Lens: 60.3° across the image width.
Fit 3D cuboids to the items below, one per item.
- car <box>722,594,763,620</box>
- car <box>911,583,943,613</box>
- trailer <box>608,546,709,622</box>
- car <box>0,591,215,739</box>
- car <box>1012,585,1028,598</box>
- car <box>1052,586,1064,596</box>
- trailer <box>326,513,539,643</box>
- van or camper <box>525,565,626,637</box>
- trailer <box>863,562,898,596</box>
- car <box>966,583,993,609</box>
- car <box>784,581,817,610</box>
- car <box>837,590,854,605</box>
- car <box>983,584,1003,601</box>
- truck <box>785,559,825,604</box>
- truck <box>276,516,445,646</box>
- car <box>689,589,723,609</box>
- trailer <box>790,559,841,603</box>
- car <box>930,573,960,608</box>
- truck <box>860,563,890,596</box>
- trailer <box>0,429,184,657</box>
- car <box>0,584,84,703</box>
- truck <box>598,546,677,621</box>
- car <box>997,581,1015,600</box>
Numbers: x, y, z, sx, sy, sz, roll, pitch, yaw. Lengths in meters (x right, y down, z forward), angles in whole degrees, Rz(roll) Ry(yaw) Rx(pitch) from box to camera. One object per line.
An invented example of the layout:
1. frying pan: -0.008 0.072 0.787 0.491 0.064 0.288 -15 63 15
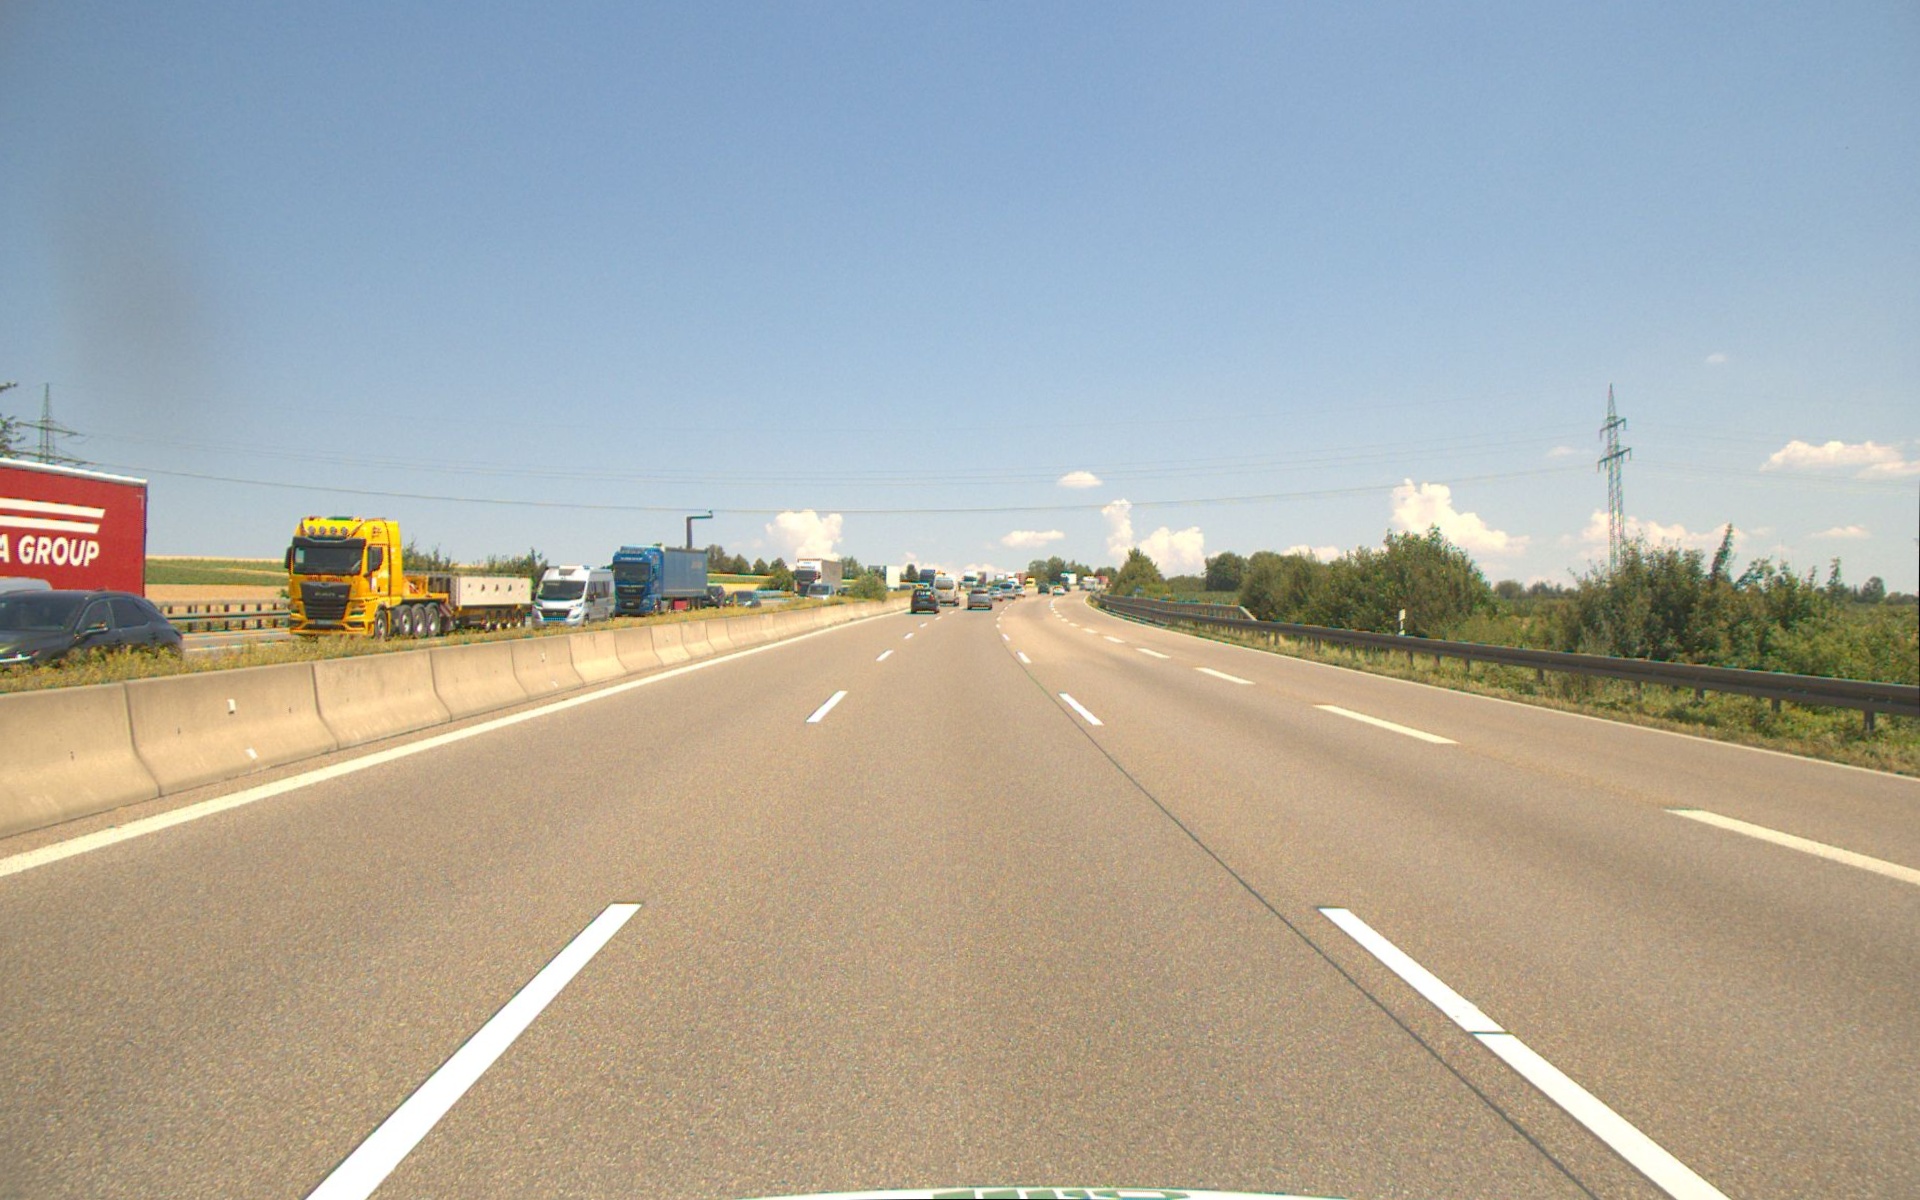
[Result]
1. car: -13.942 0.446 106.306 1.874 1.568 5.742 1 0 0
2. car: -2.134 -0.138 108.979 1.809 1.893 4.207 0 1 3
3. trailer: -18.430 -0.936 102.365 3.095 4.267 14.383 1 0 2
4. car: -12.047 0.755 21.998 2.007 1.725 5.253 1 0 -2
5. car: 7.953 -1.126 219.202 1.952 1.579 4.003 2 1 4
6. car: 14.940 -1.421 252.365 1.862 1.467 4.002 0 1 4
7. trailer: -18.978 -0.773 60.975 2.891 4.172 14.384 1 0 1
8. van or camper: -14.840 0.031 64.266 2.264 2.632 7.142 1 0 0
9. trailer: -10.905 -2.848 228.505 3.174 4.464 14.035 1 1 4
10. car: 1.482 -0.256 124.485 1.952 1.781 4.000 1 -2 1
11. car: -11.429 -0.354 118.787 1.874 2.004 5.447 1 0 0
12. car: -11.583 -0.272 167.544 1.591 1.428 3.730 1 1 -1
13. car: 3.353 -0.753 169.941 1.953 1.613 3.999 0 -1 0
14. truck: -15.677 -1.879 167.268 3.066 4.403 6.150 1 0 4
15. truck: -19.239 -0.599 53.535 2.694 3.904 7.099 1 0 1
16. car: -18.385 -0.107 119.911 1.623 1.409 4.351 1 1 1
17. trailer: -15.176 -1.943 174.499 3.058 4.400 14.552 1 0 4
18. car: -1.196 -0.799 137.589 2.134 2.671 4.673 1 -2 3
19. truck: -11.351 -2.699 221.309 3.158 4.280 7.130 0 1 4
20. trailer: -19.076 -1.055 30.070 3.022 4.172 14.381 1 0 0
21. car: -15.464 0.645 25.118 1.875 1.803 4.760 1 0 -2
22. truck: -18.626 -0.942 95.861 3.012 4.161 6.936 1 0 1
23. car: 5.234 -1.056 187.966 1.953 1.937 3.999 0 -2 -1
